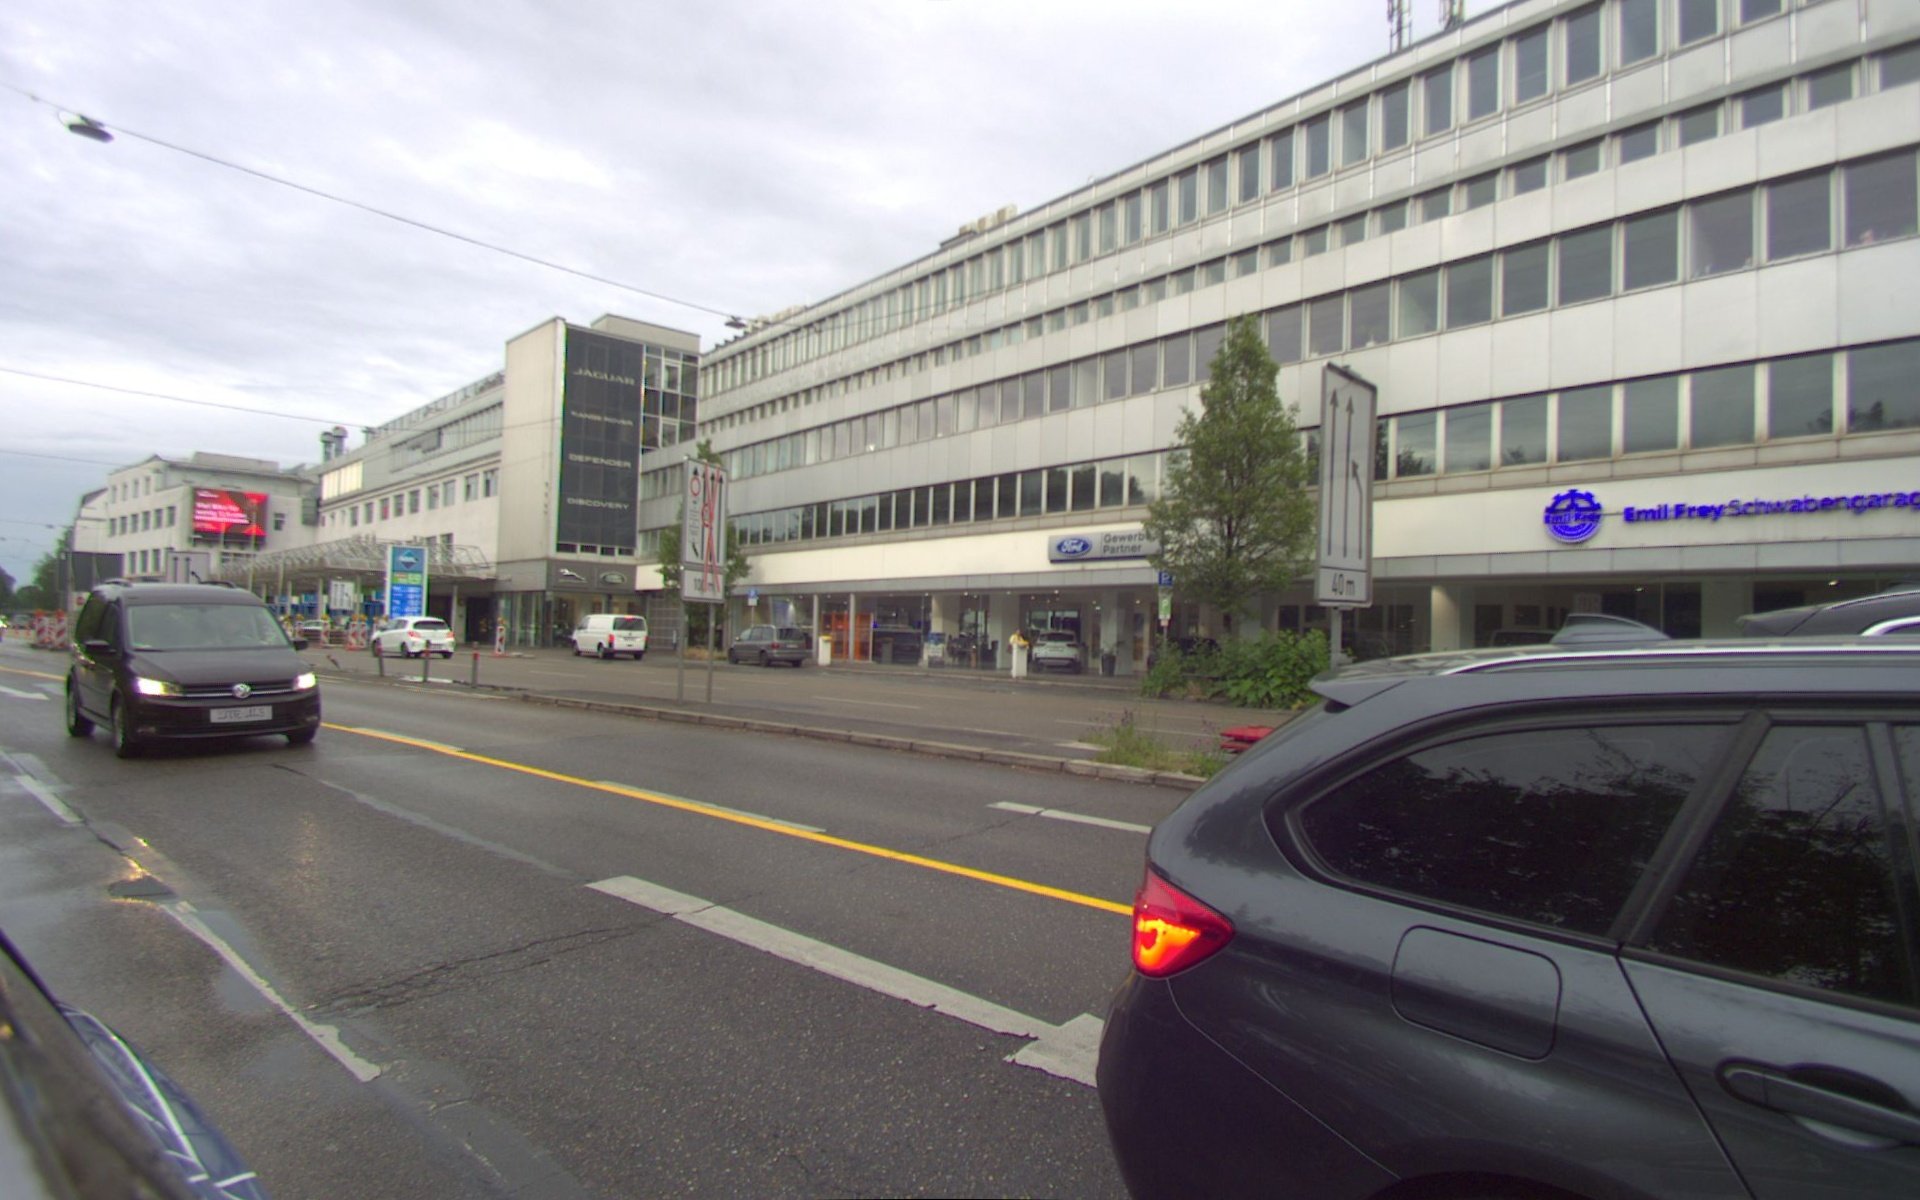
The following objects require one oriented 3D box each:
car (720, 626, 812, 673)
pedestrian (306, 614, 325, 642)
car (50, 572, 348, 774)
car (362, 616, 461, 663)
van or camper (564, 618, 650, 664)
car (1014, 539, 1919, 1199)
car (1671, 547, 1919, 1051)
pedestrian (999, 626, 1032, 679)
[{"bbox_3d":[-8.301,2.066,43.151,1.895,1.829,4.169,-1,0,-44],"label":"car"},{"bbox_3d":[-42.393,1.847,66.556,0.882,1.828,0.942,-1,0,-45],"label":"pedestrian"},{"bbox_3d":[-8.672,0.675,11.381,4.429,1.828,1.880,-1,0,42],"label":"car"},{"bbox_3d":[-19.796,1.443,36.475,3.760,1.544,1.783,-2,-7,40],"label":"car"},{"bbox_3d":[-15.841,1.805,45.298,1.912,1.938,4.689,3,-3,-43],"label":"van or camper"},{"bbox_3d":[2.346,0.689,1.075,4.476,1.469,1.757,-1,-3,42],"label":"car"},{"bbox_3d":[4.902,0.636,2.929,4.445,1.668,1.789,-1,0,44],"label":"car"},{"bbox_3d":[1.918,1.803,35.191,0.750,1.788,0.865,-1,0,-42],"label":"pedestrian"}]
